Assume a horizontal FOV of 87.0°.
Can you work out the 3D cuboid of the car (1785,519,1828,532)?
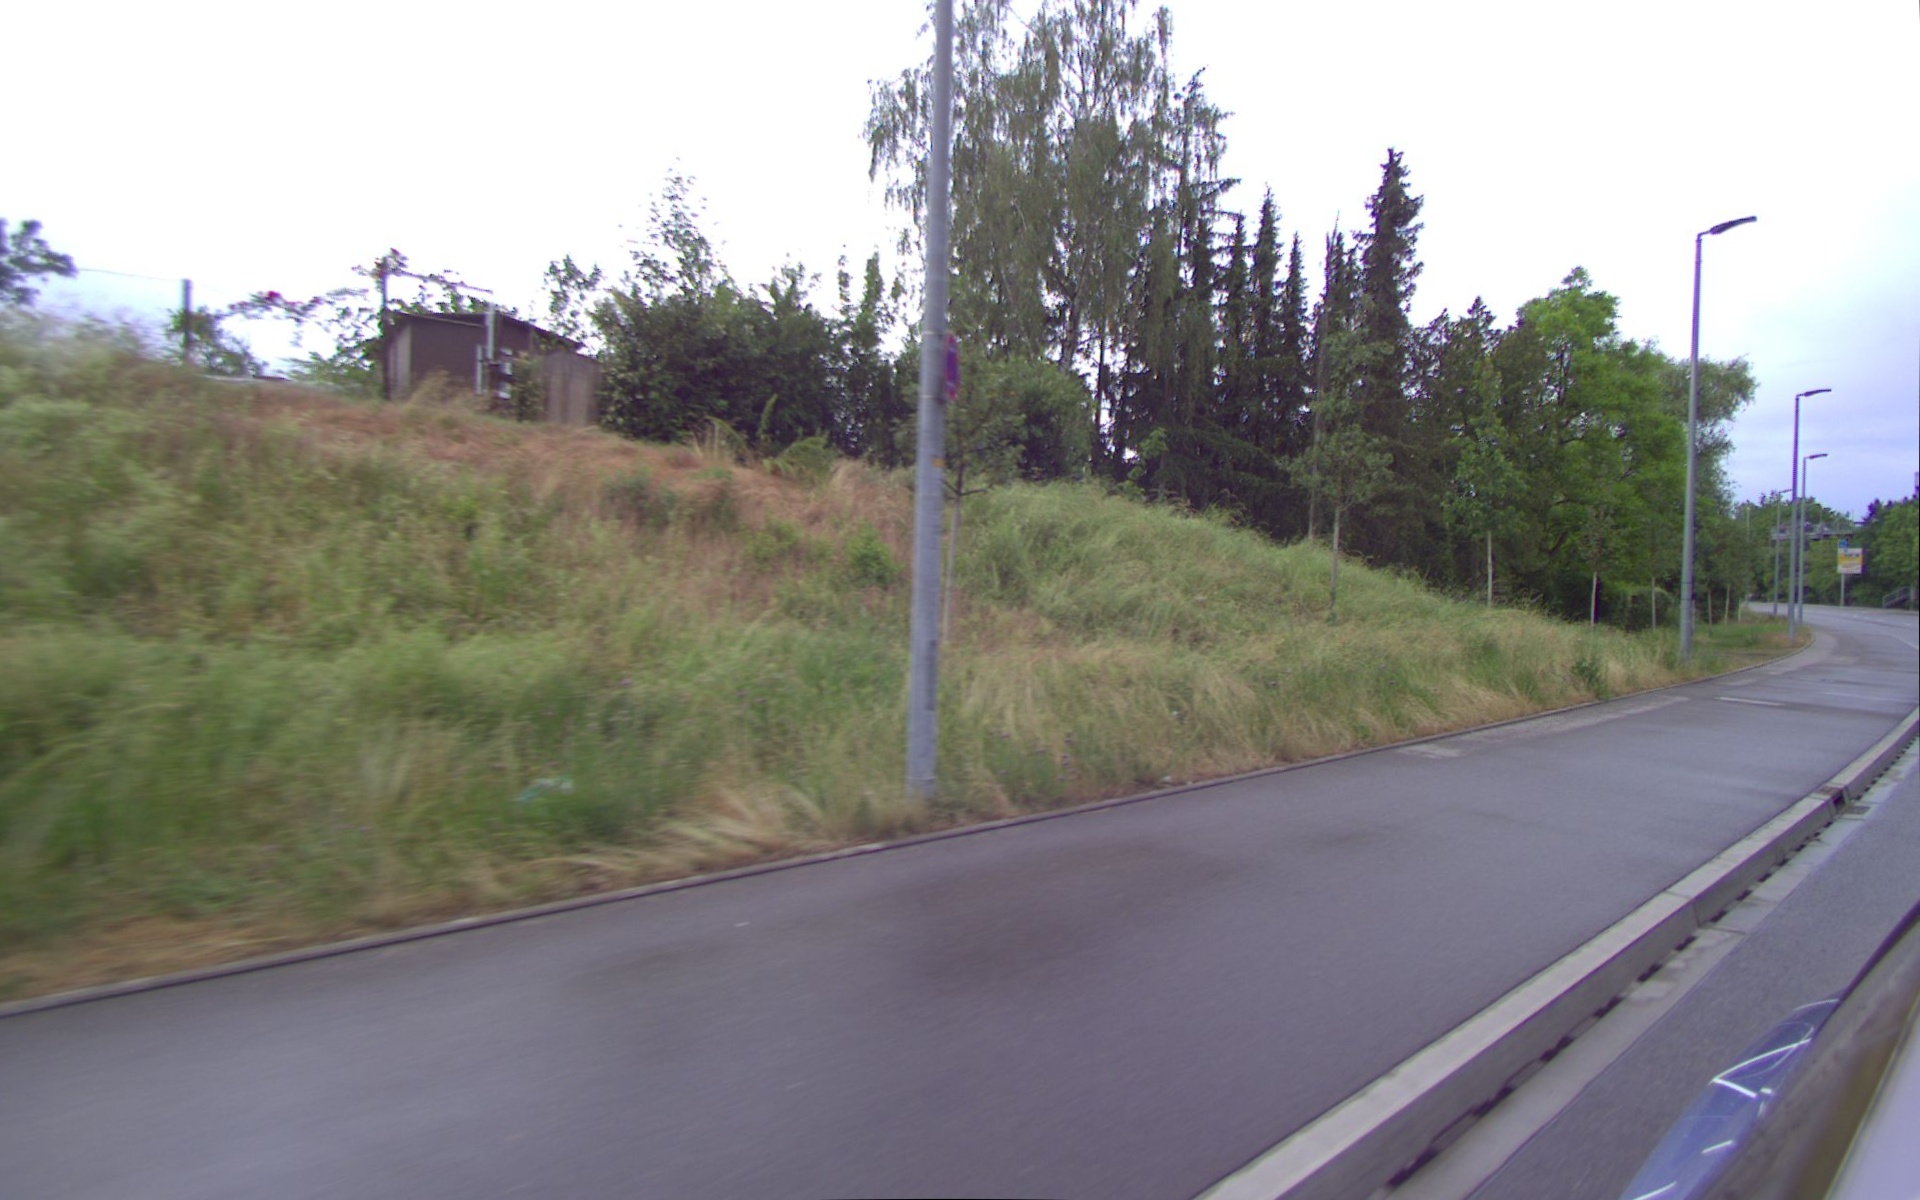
[{"bbox_3d":[109.916,-9.663,131.458,1.964,1.537,3.998,0,3,-39],"label":"car"}]
